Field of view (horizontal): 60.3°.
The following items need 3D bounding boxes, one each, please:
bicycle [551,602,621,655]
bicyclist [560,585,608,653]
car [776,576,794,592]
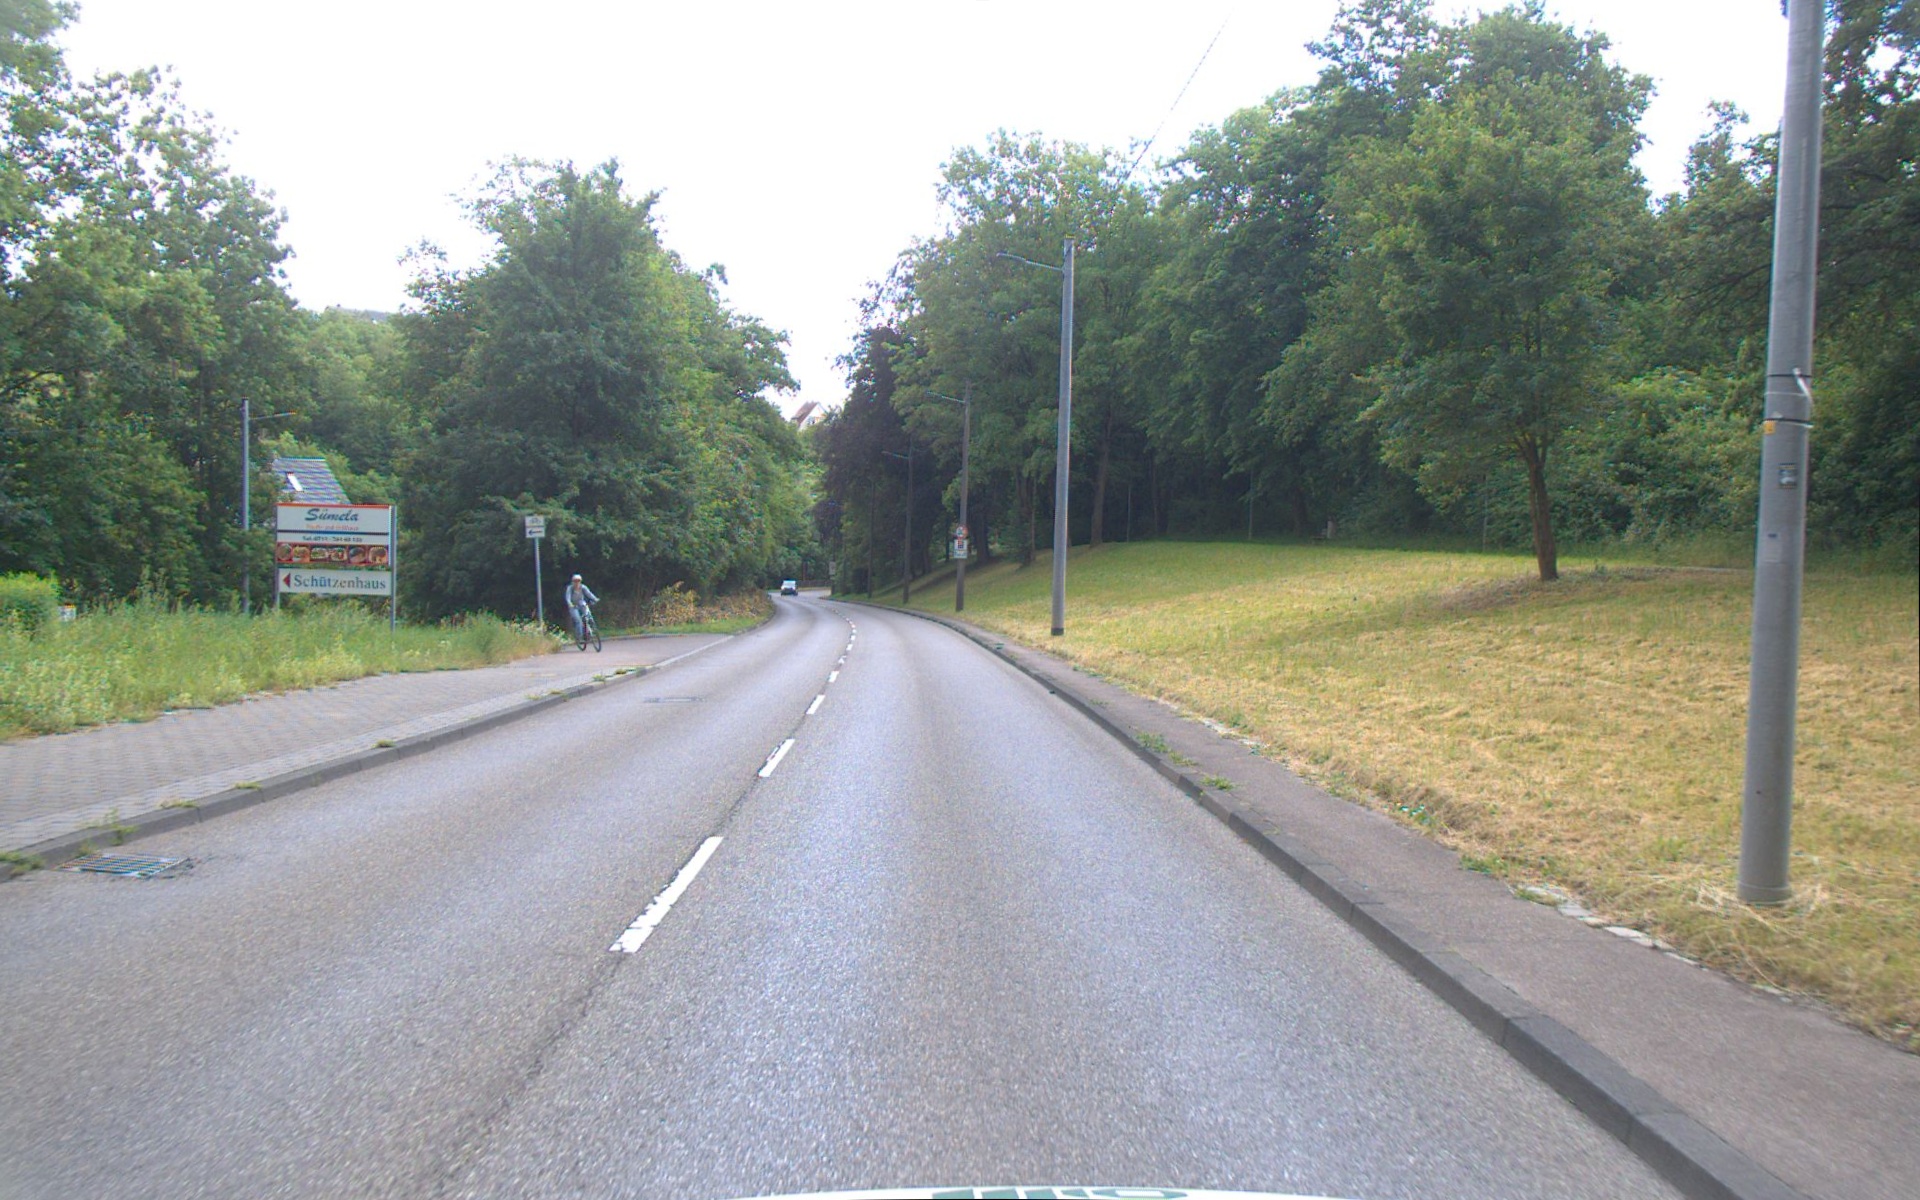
[{"bbox_3d":[-8.220,0.614,36.258,0.820,1.054,2.419,3,0,-29],"label":"bicycle"},{"bbox_3d":[-8.252,0.411,36.257,0.817,1.452,0.774,1,0,-30],"label":"bicyclist"},{"bbox_3d":[-22.870,-2.109,216.716,1.953,2.049,3.999,2,0,-2],"label":"car"}]
